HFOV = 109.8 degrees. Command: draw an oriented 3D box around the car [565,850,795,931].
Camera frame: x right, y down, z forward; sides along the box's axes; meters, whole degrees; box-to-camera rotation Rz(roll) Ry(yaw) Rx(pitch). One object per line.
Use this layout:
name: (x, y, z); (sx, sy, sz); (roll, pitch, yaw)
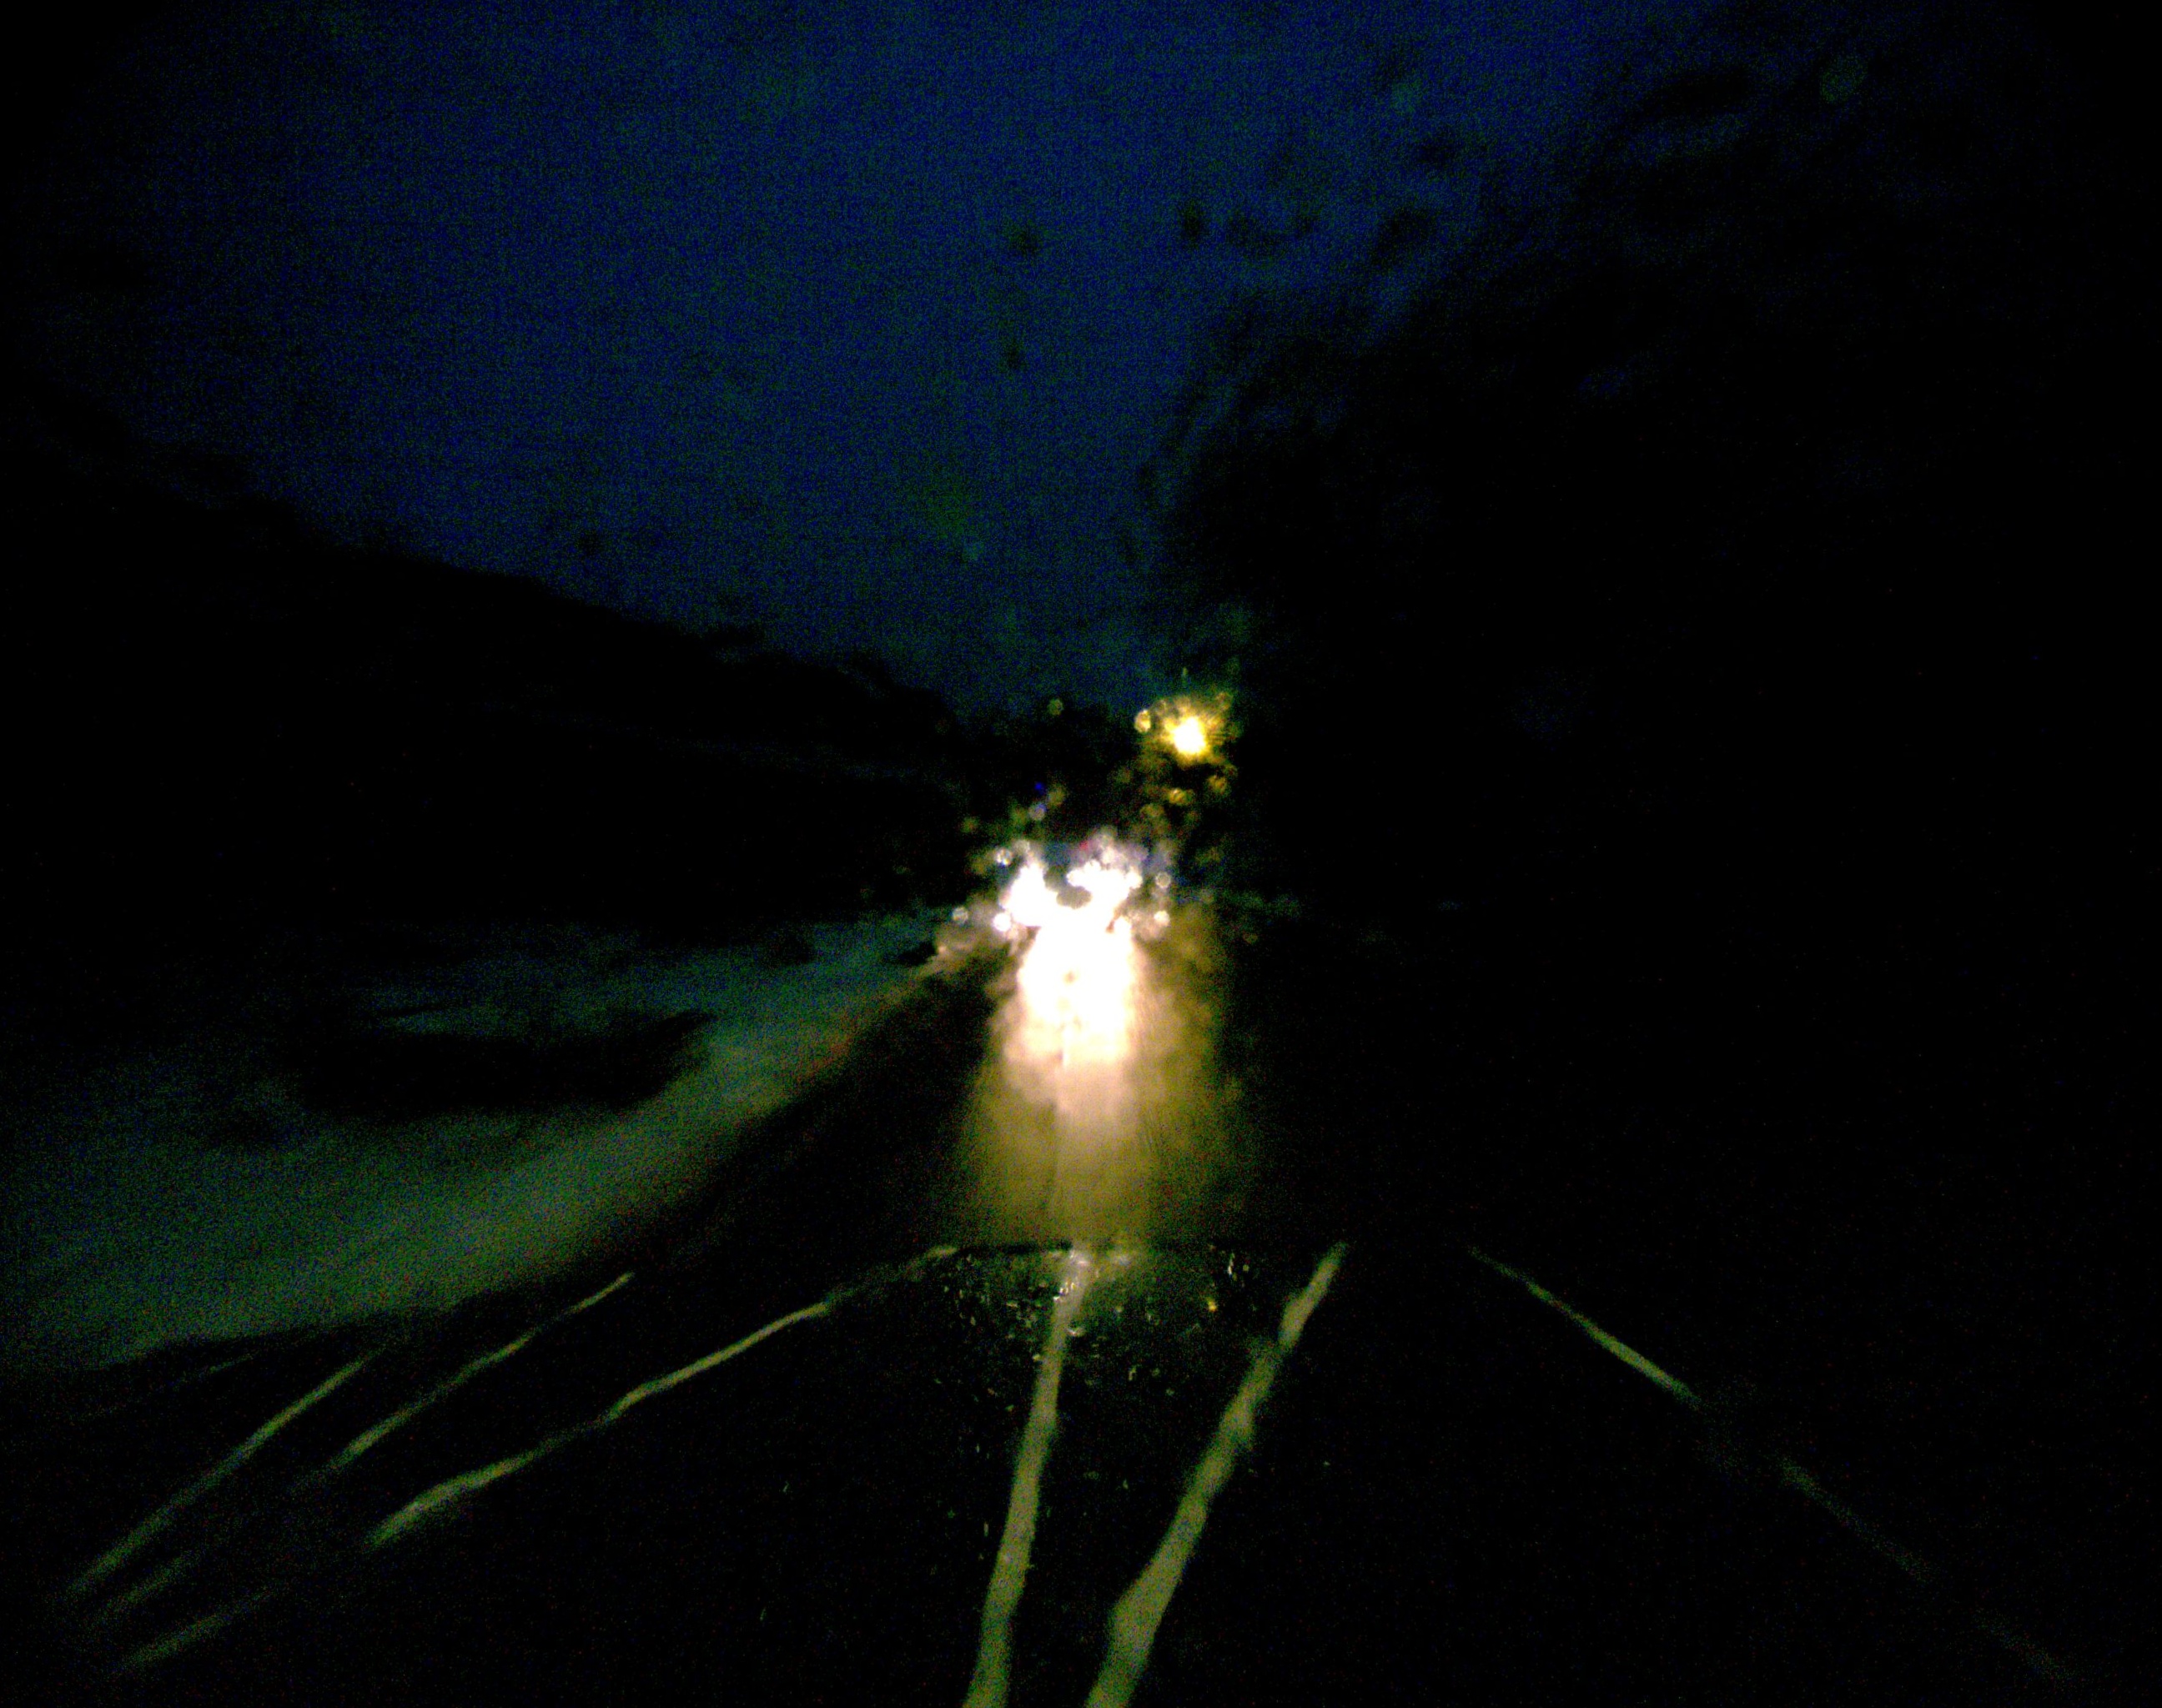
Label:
car: (-9.129, 0.788, 17.452); (4.403, 1.647, 1.863); (1, 0, 9)

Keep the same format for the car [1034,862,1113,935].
car: (-0.274, 0.966, 18.159); (1.650, 1.446, 3.678); (-2, 1, -4)
